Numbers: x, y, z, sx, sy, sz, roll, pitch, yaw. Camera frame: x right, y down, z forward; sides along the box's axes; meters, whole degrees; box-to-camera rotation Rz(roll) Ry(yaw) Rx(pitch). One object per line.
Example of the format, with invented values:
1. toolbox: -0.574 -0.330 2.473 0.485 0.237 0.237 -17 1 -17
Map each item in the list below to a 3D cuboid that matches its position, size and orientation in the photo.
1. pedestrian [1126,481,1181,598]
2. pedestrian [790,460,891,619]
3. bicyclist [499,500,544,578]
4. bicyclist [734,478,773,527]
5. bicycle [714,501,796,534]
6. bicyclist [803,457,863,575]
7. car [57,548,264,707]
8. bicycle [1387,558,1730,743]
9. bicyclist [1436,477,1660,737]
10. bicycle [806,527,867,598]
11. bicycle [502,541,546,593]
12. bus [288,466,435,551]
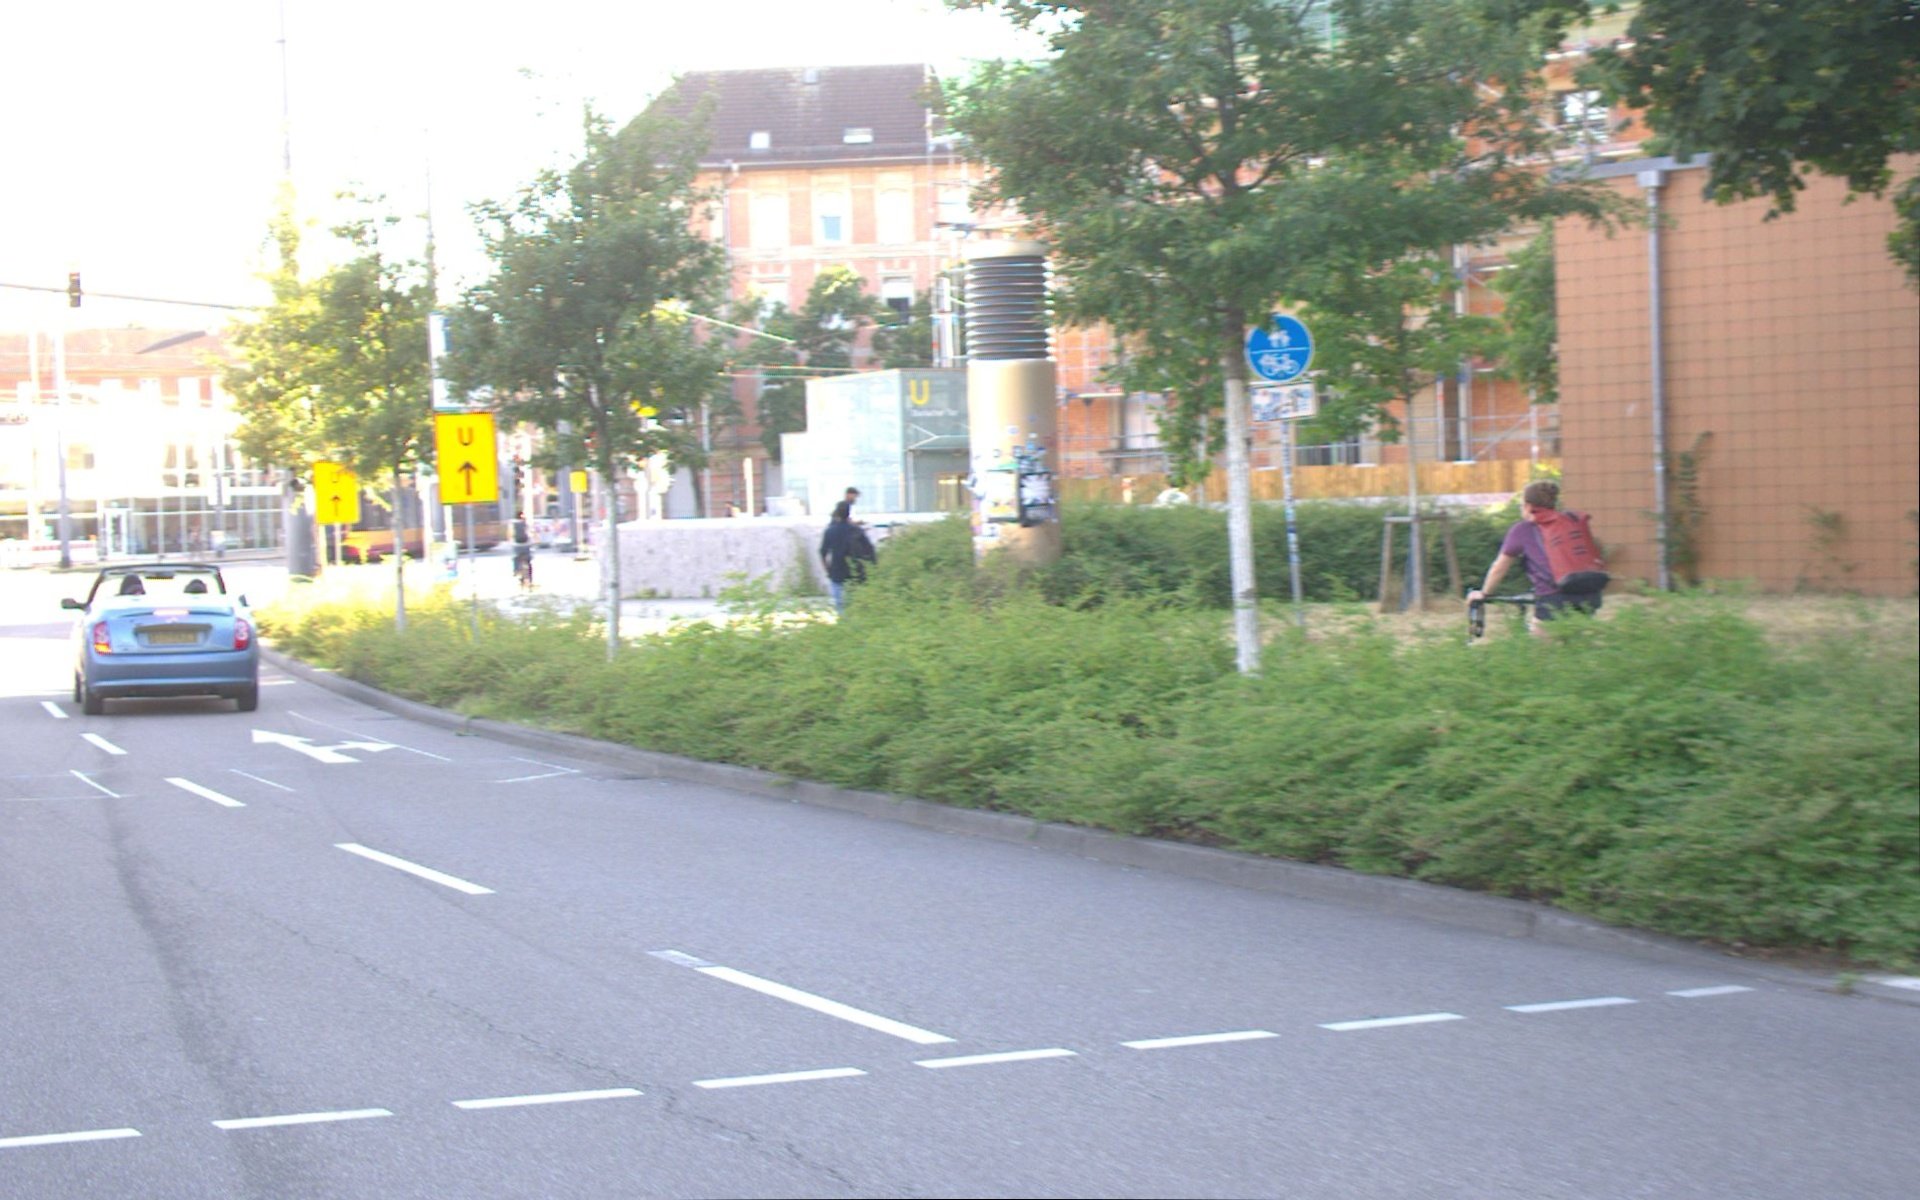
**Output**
1. pedestrian: 2.771 -0.871 49.266 0.723 1.653 0.718 1 1 6
2. pedestrian: -1.280 -0.654 36.786 0.805 1.653 0.790 -2 2 -22
3. bicyclist: -9.246 -1.276 72.513 0.789 1.588 0.947 -4 1 -5
4. bicyclist: -6.738 -3.172 112.105 0.923 1.554 0.963 -2 2 -28
5. bicycle: -6.688 -2.691 112.142 2.438 1.000 0.963 -3 2 -28
6. bicyclist: -1.982 -1.311 53.567 0.787 1.780 0.894 -4 1 -5
7. car: -7.811 0.224 33.862 1.800 1.439 3.979 0 1 -10
8. bicycle: 3.252 0.264 18.929 0.719 0.949 2.250 -1 0 -24
9. bicyclist: 3.234 0.035 18.963 0.719 1.380 1.076 -1 0 -24
10. bicycle: -1.938 -0.589 53.632 0.789 1.035 1.963 -4 1 -5
11. bicycle: -9.185 -0.696 72.478 0.789 1.035 1.963 -4 1 -5
12. bus: -22.138 -3.451 127.797 2.355 2.873 9.576 0 3 9
